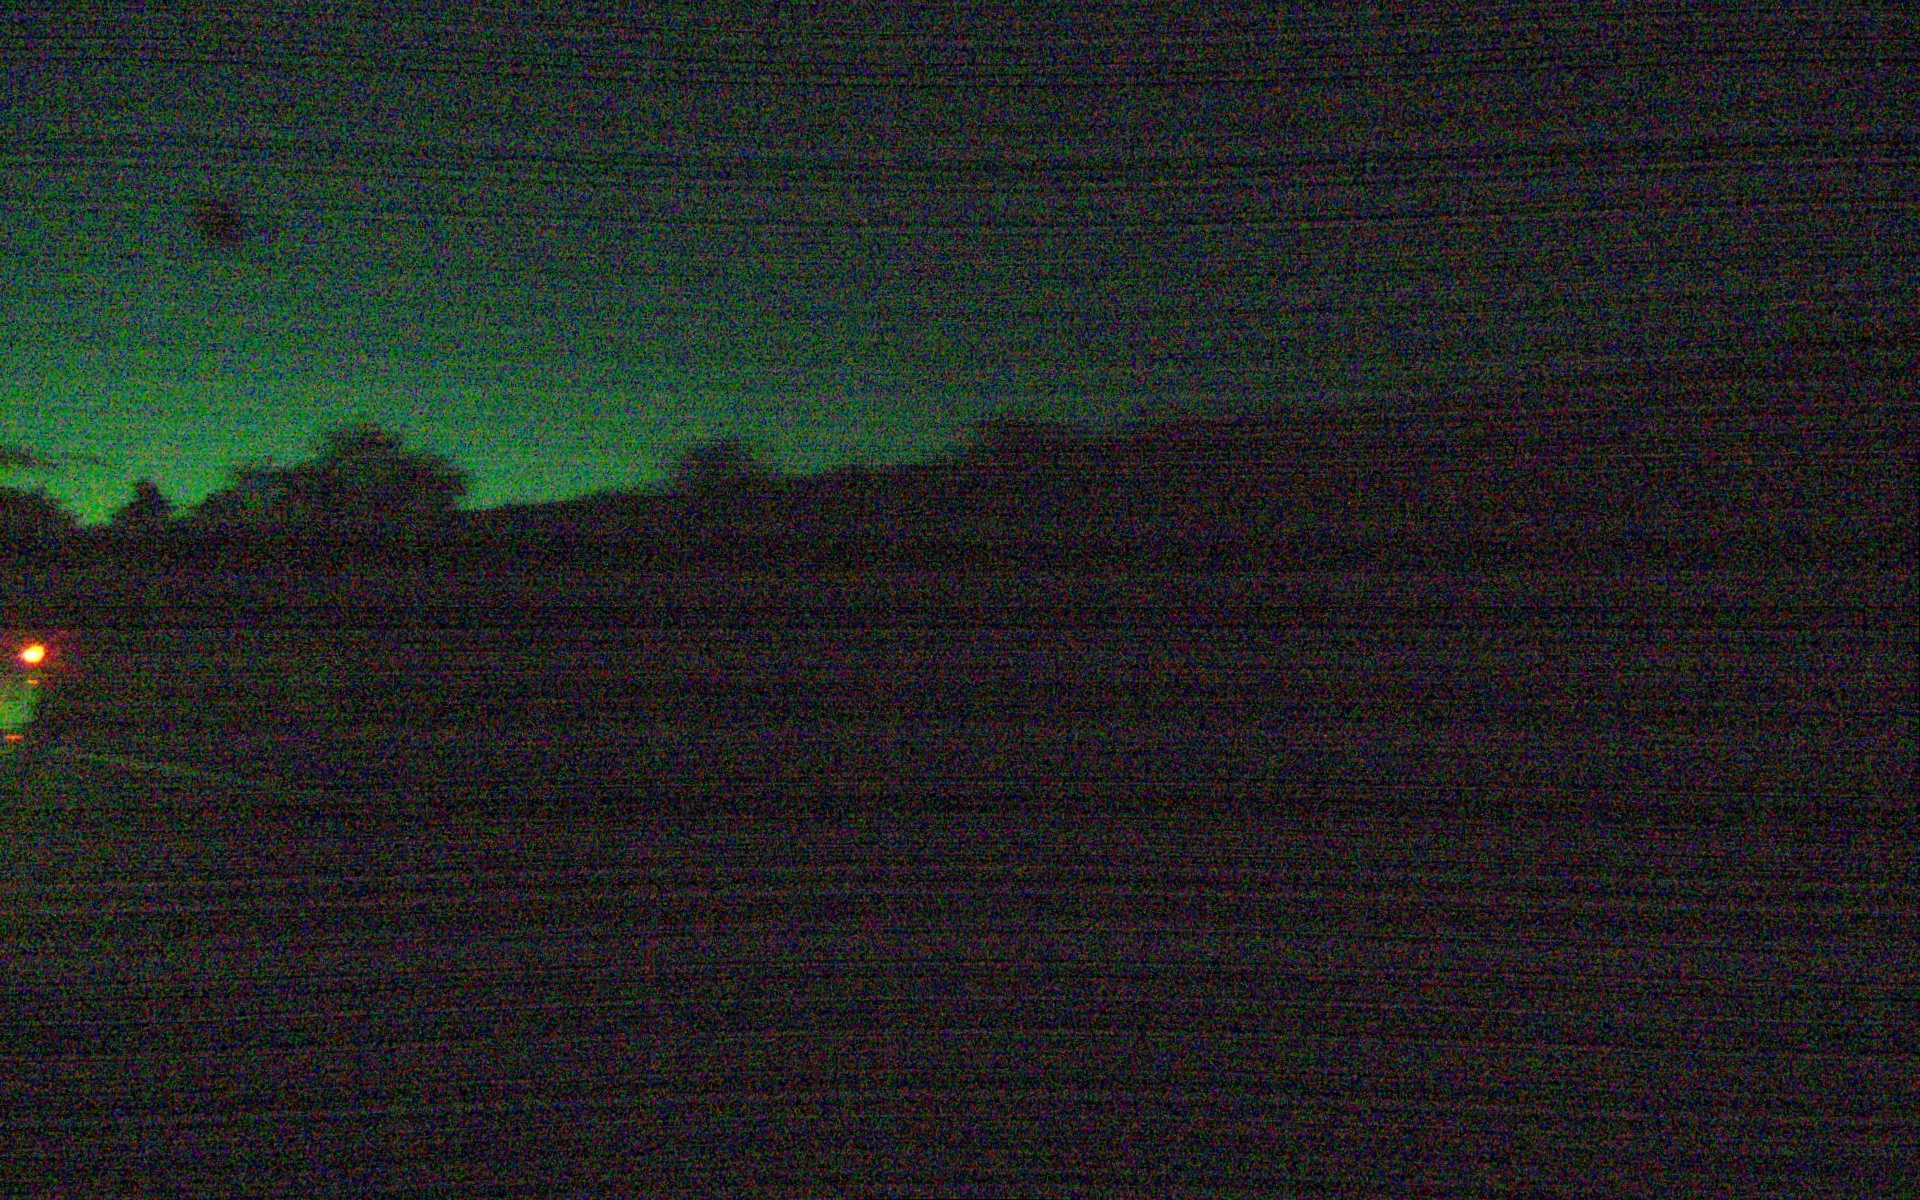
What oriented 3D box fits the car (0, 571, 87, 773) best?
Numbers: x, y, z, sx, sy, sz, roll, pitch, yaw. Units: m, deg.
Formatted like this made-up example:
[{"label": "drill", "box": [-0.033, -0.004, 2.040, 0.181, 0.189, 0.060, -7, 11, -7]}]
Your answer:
[{"label": "car", "box": [-12.205, 0.771, 11.195, 5.582, 2.026, 2.112, -1, -2, 32]}]
